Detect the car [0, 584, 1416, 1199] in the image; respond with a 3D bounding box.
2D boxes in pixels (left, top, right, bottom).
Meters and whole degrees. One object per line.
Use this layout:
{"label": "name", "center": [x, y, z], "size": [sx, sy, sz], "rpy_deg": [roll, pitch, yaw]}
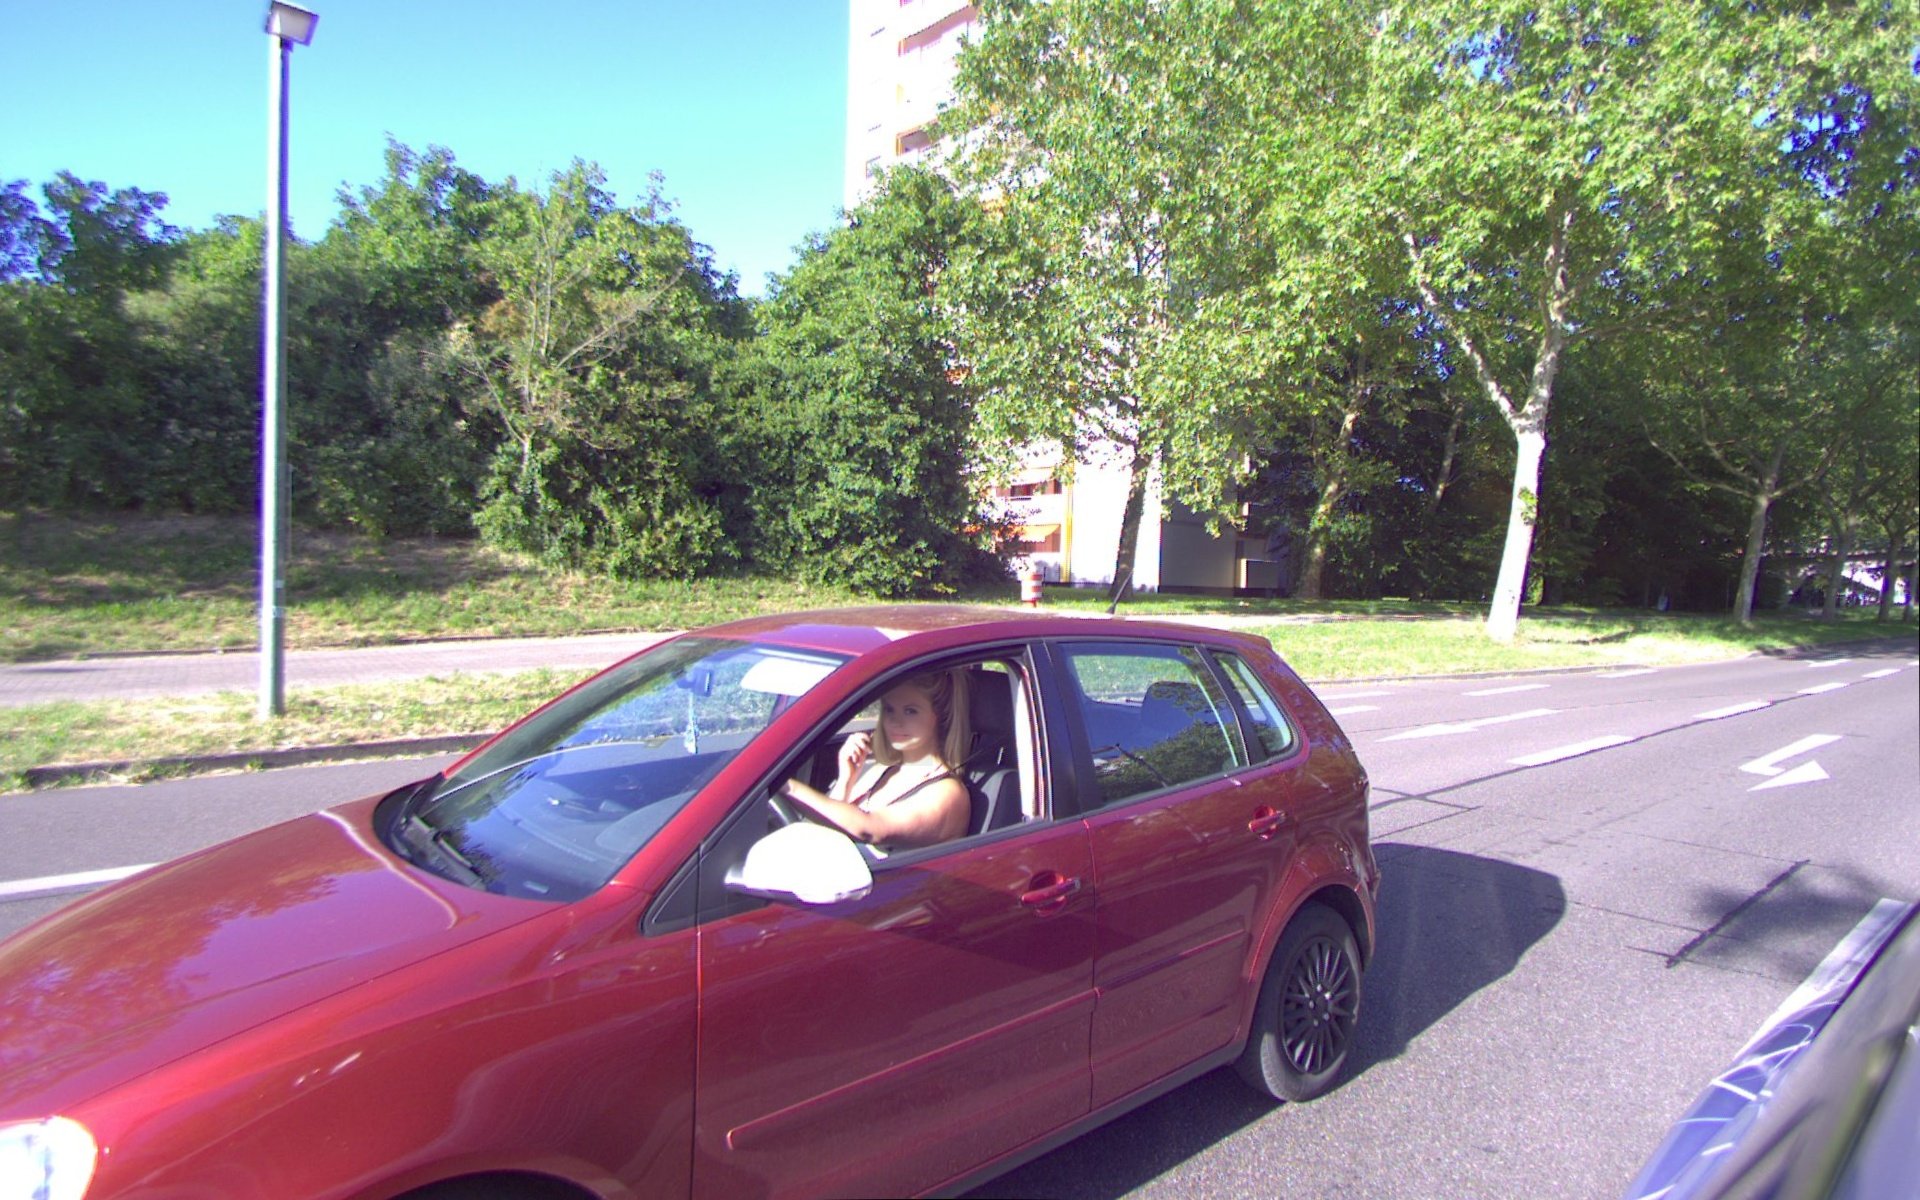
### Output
{"label": "car", "center": [-0.455, 0.695, 2.763], "size": [3.627, 1.434, 1.626], "rpy_deg": [0, 1, -39]}
